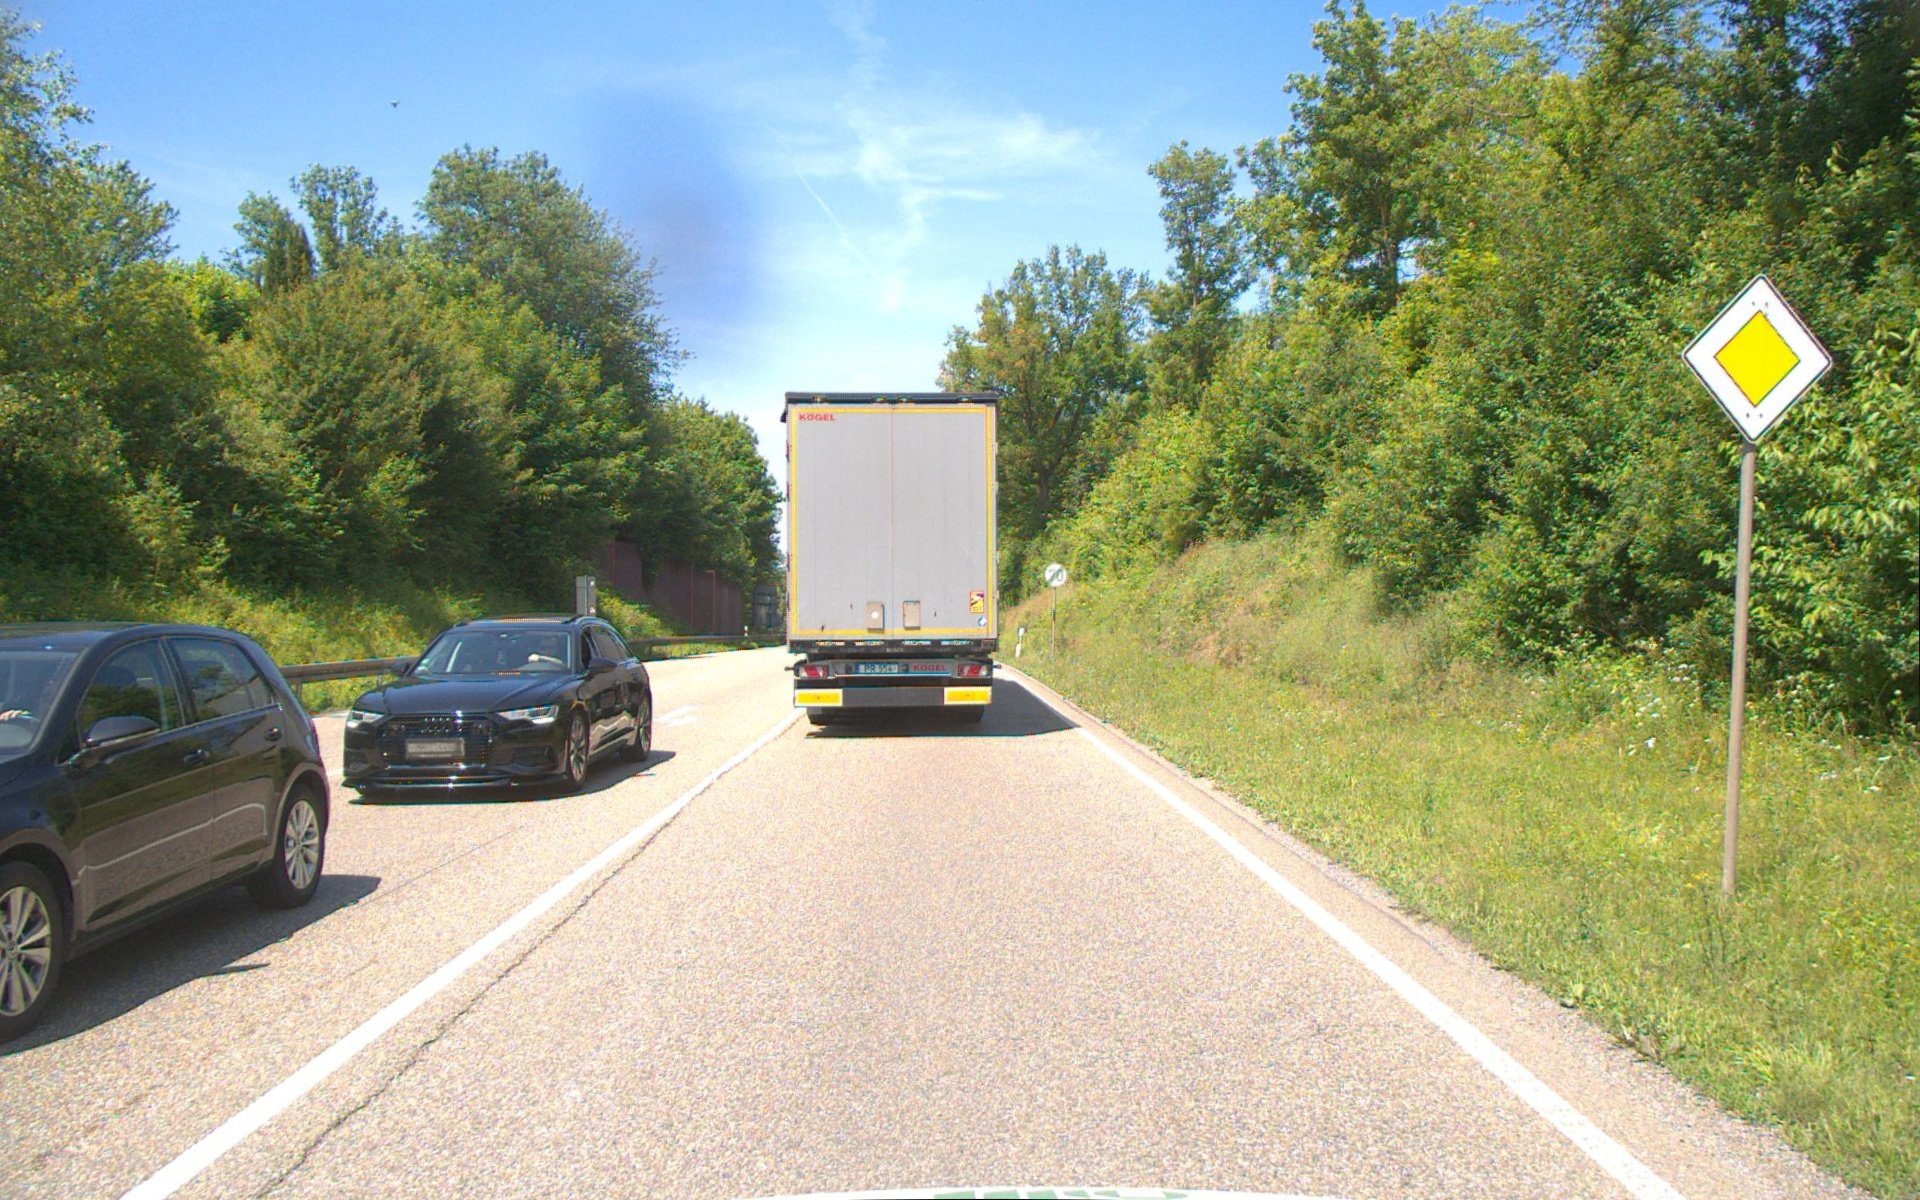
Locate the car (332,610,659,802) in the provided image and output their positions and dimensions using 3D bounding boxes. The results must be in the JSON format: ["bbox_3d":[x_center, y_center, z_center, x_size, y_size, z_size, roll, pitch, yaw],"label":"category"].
[{"bbox_3d":[-4.029,0.846,15.121,1.767,1.479,4.386,-1,-1,0],"label":"car"}]

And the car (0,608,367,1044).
[{"bbox_3d":[-4.079,0.790,6.965,1.647,1.439,4.181,-1,0,0],"label":"car"}]

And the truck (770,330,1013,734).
[{"bbox_3d":[-0.916,-0.791,22.615,2.766,4.684,6.662,-1,0,-2],"label":"truck"}]
